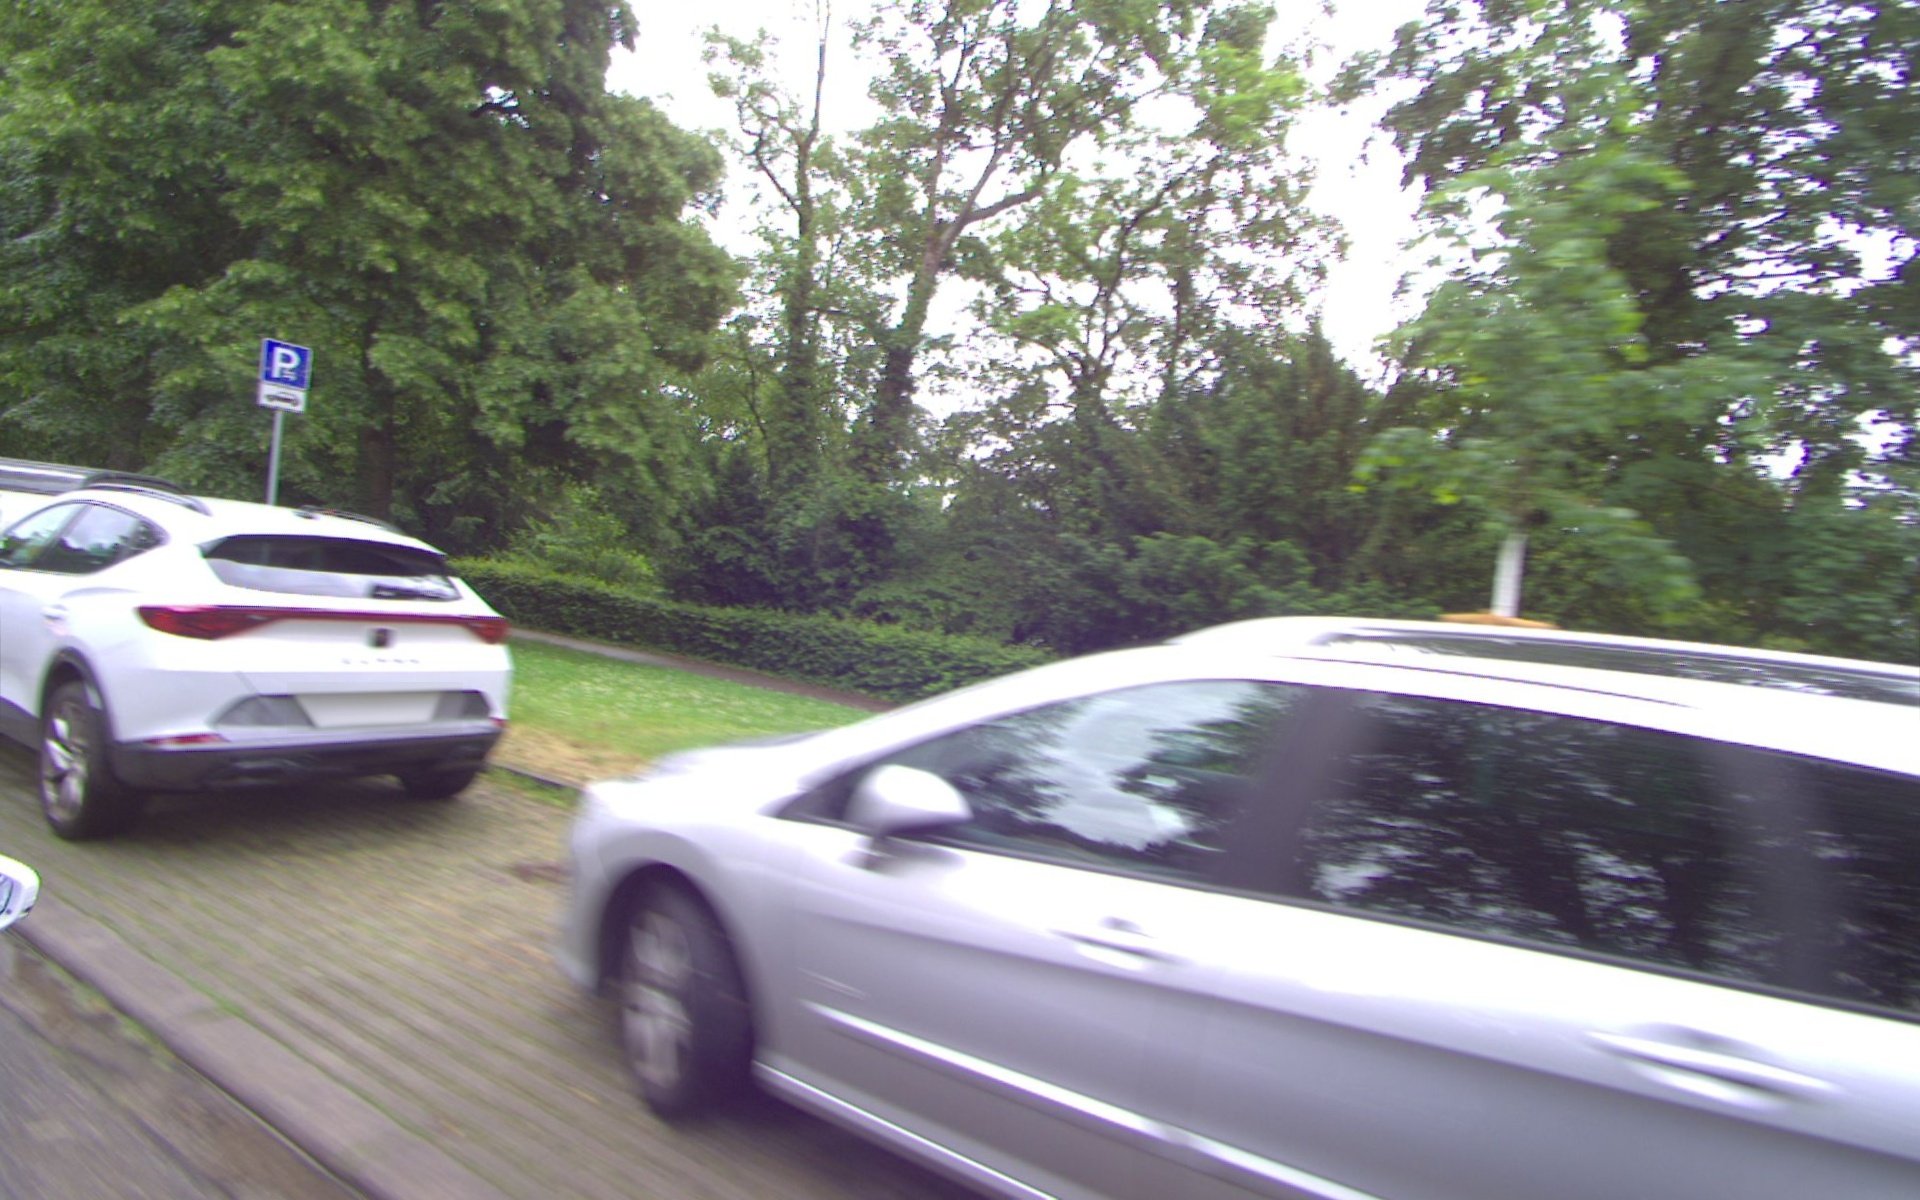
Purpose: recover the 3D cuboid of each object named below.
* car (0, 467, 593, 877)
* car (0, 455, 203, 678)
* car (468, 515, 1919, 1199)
[{"bbox_3d":[-4.494,0.131,5.910,4.492,1.516,1.994,7,1,33],"label":"car"},{"bbox_3d":[-9.005,-0.422,8.366,3.939,1.703,1.608,5,1,-11],"label":"car"},{"bbox_3d":[0.825,0.776,2.693,4.196,1.559,1.806,7,2,31],"label":"car"}]
